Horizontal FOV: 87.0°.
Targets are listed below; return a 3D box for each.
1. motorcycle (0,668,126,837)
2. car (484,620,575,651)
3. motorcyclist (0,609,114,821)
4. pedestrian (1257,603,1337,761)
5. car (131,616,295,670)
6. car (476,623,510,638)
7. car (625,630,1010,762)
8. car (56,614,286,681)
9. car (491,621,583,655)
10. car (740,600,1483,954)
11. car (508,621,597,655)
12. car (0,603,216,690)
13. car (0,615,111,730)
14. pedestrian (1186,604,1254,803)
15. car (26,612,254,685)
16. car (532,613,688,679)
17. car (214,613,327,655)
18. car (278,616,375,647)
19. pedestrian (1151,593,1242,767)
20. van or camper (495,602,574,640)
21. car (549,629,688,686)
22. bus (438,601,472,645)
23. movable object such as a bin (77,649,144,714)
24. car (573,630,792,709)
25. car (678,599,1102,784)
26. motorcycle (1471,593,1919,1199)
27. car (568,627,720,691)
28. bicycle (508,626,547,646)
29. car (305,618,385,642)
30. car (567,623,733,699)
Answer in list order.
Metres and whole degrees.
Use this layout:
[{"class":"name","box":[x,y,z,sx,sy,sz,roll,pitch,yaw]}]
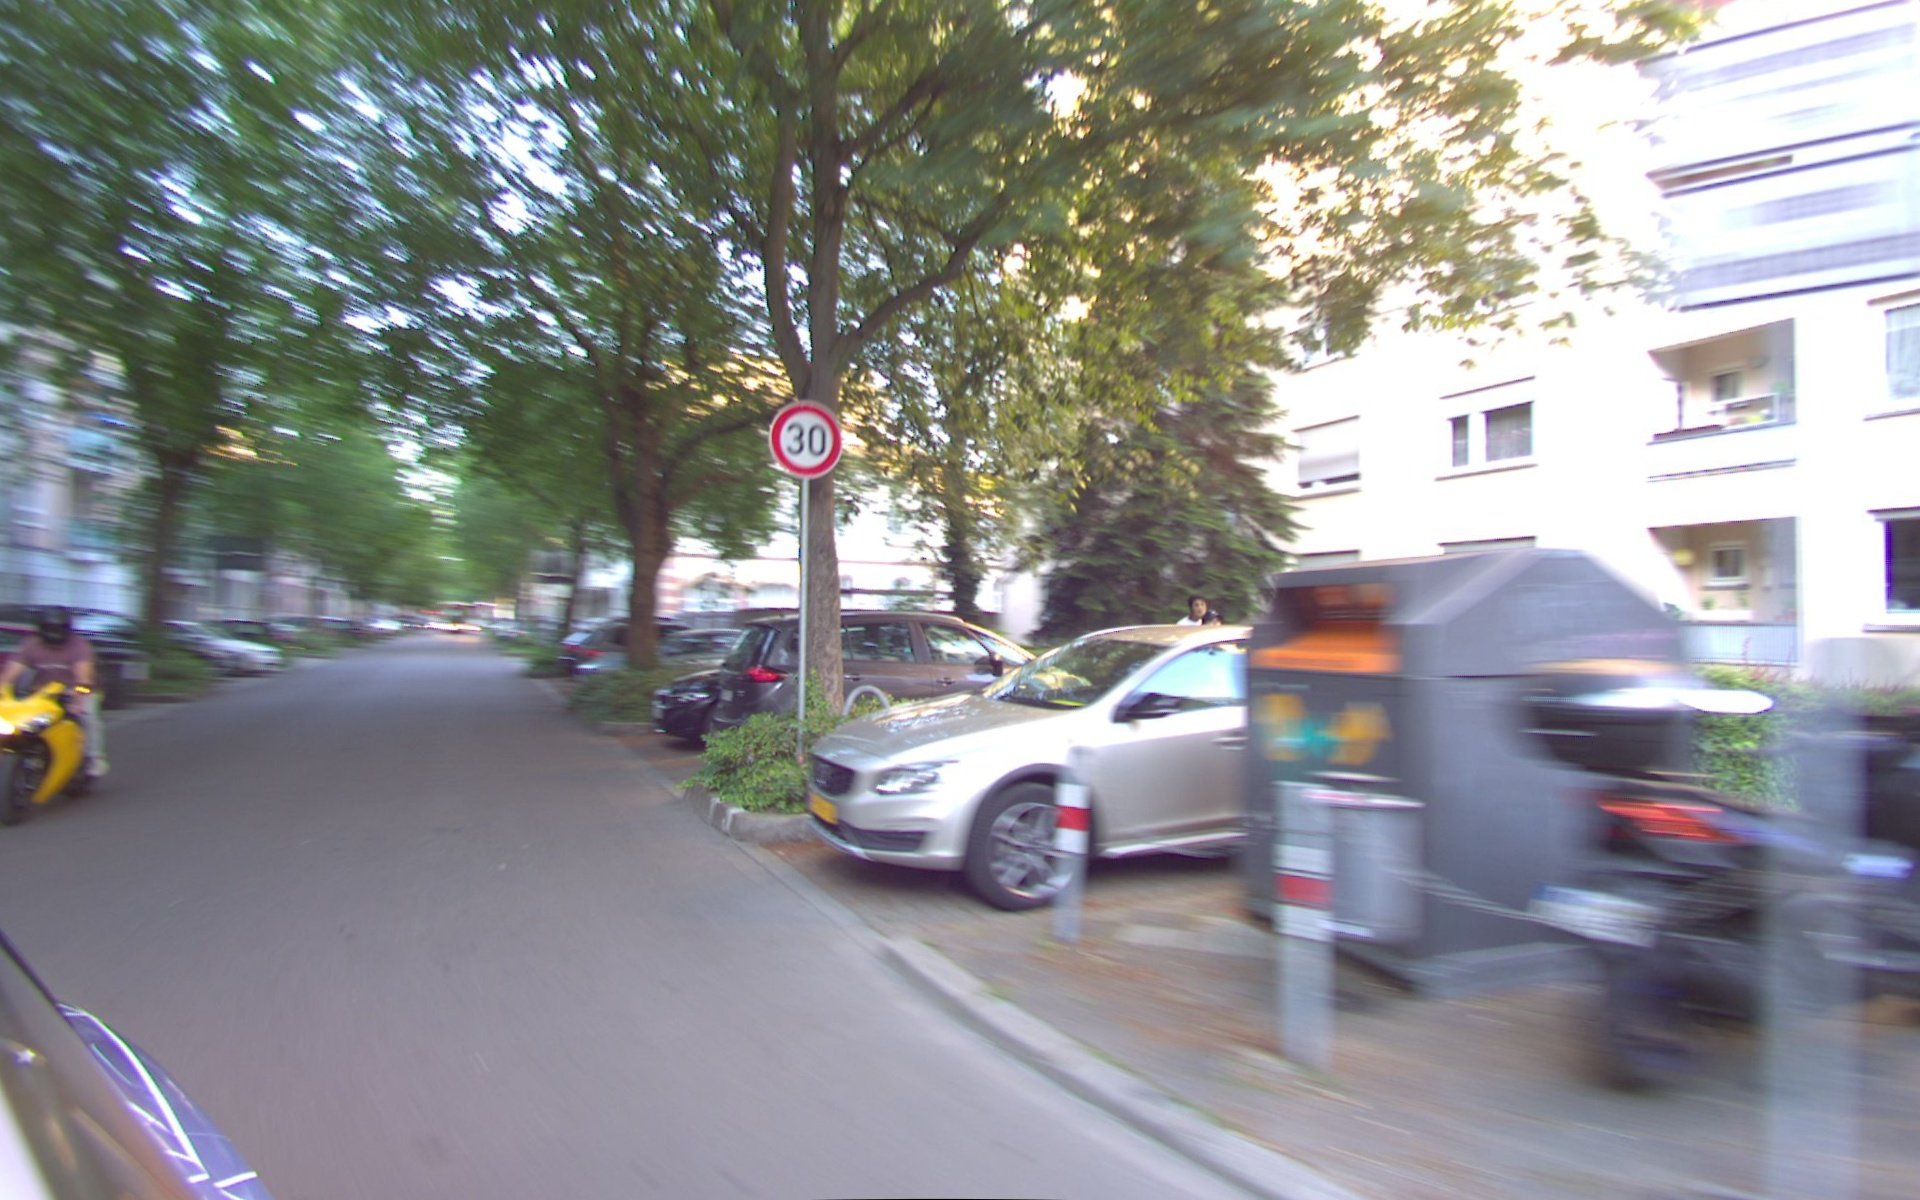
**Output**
[{"class":"motorcycle","box":[-7.476,1.166,8.200,0.724,1.130,2.114,1,-2,-29]},{"class":"car","box":[-24.151,1.998,56.817,4.472,1.695,1.626,2,-2,-30]},{"class":"motorcyclist","box":[-7.482,0.897,8.255,0.710,1.626,0.918,1,-2,-29]},{"class":"pedestrian","box":[3.488,0.831,10.483,0.650,1.584,0.450,1,-2,-22]},{"class":"car","box":[-23.733,1.381,32.353,3.932,1.486,1.919,5,-4,-31]},{"class":"car","box":[-57.727,3.778,125.121,3.794,1.645,1.680,3,-3,-26]},{"class":"car","box":[-1.866,1.146,13.496,4.649,1.435,2.078,0,-1,-29]},{"class":"car","box":[-20.906,1.284,27.095,4.508,1.564,1.778,4,-3,-27]},{"class":"car","box":[-20.709,1.846,49.572,3.931,1.600,1.833,1,-2,-29]},{"class":"car","box":[1.018,0.850,6.686,4.435,1.593,2.061,-1,0,-26]},{"class":"car","box":[-20.016,1.837,49.727,3.931,1.604,1.794,0,-2,-27]},{"class":"car","box":[-19.163,1.032,22.288,4.324,1.716,1.900,5,-3,-35]},{"class":"car","box":[-15.070,0.988,14.860,3.613,1.560,1.786,5,-2,-29]},{"class":"pedestrian","box":[2.473,0.945,9.595,0.526,1.802,0.693,-1,-2,23]},{"class":"car","box":[-19.915,1.191,24.801,3.931,1.537,1.732,4,-3,-25]},{"class":"car","box":[-10.926,1.382,31.597,4.356,1.906,2.006,0,-2,-27]},{"class":"car","box":[-30.475,1.521,44.875,3.808,1.679,1.932,4,-3,-27]},{"class":"car","box":[-35.664,1.795,57.121,4.296,1.481,1.737,4,-3,-22]},{"class":"pedestrian","box":[2.547,0.844,10.939,0.686,1.802,0.668,1,-2,-22]},{"class":"van or camper","box":[-28.617,1.416,68.112,4.749,2.446,1.951,2,-2,-27]},{"class":"car","box":[-9.344,1.536,27.736,3.357,1.453,1.599,1,-2,-29]},{"class":"bus","box":[-50.514,2.328,101.189,2.786,4.141,7.856,2,-2,-27]},{"class":"movable object such as a bin","box":[-14.883,1.415,17.744,0.763,1.076,0.591,1,-2,-28]},{"class":"car","box":[-5.705,1.367,20.882,4.042,1.390,1.752,0,-1,-29]},{"class":"car","box":[-0.769,0.894,11.557,4.334,1.697,2.070,-1,-1,-29]},{"class":"motorcycle","box":[2.700,0.761,3.234,2.186,1.505,0.693,1,-2,-25]},{"class":"car","box":[-7.905,1.433,25.358,3.357,1.518,1.670,1,-2,-29]},{"class":"bicycle","box":[-23.431,1.958,54.862,1.875,1.033,0.481,2,-2,-28]},{"class":"car","box":[-42.353,2.102,69.817,4.518,1.481,1.701,3,-3,-25]},{"class":"car","box":[-7.128,1.356,23.300,3.357,1.621,1.766,1,-2,-29]}]
